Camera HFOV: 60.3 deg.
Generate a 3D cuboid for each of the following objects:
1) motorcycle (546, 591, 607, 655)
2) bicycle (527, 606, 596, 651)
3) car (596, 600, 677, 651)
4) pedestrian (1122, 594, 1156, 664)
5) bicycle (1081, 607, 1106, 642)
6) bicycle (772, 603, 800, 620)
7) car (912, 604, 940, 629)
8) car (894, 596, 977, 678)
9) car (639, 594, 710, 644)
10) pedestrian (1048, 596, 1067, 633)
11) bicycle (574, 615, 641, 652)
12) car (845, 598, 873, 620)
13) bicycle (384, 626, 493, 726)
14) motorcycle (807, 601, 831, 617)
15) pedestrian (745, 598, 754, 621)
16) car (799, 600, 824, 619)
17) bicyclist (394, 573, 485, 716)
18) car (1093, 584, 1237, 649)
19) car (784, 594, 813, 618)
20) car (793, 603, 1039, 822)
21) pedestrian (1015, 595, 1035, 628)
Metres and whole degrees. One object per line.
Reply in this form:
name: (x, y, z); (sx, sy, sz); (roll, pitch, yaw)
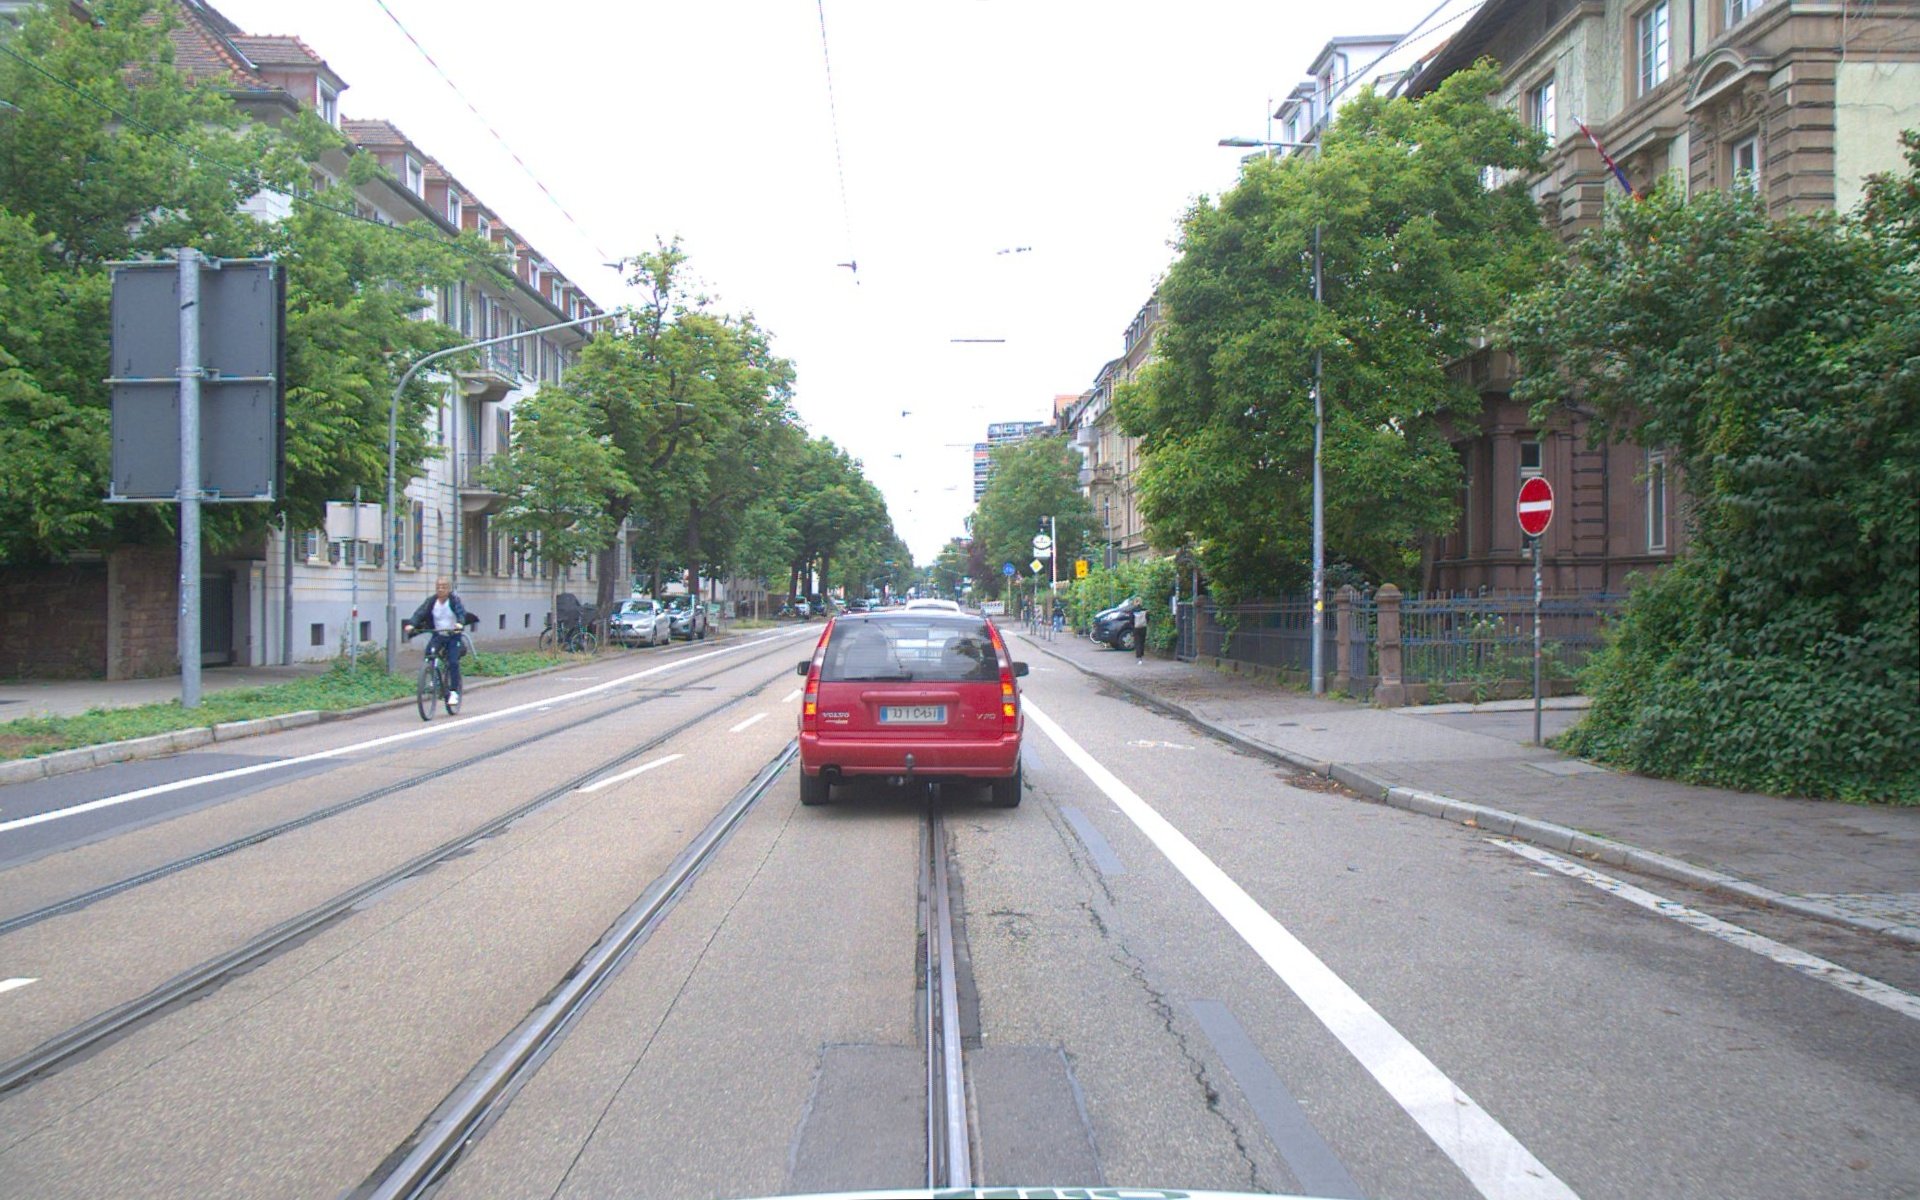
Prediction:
motorcycle: (-10.354, 0.613, 44.781); (0.815, 1.672, 2.482); (0, 0, 7)
bicycle: (-10.293, 0.740, 42.738); (1.705, 1.148, 0.518); (0, 0, 17)
car: (-10.120, 0.768, 52.006); (1.775, 1.491, 4.612); (0, 0, -2)
pedestrian: (4.448, 0.713, 41.152); (0.611, 1.700, 0.959); (-3, 0, -2)
bicycle: (4.660, 0.857, 57.811); (0.620, 1.147, 1.812); (-2, 1, -2)
bicycle: (-12.084, 0.813, 114.797); (1.883, 1.141, 0.623); (1, -1, -2)
car: (-2.252, 1.089, 110.101); (1.707, 1.634, 3.997); (0, 0, -3)
car: (-0.483, 0.763, 35.682); (1.683, 1.653, 3.941); (0, 0, 1)
car: (-10.378, 0.658, 60.414); (1.800, 1.690, 4.293); (2, 0, 0)
pedestrian: (4.534, 0.680, 77.220); (0.777, 1.665, 0.836); (-2, -1, -1)
bicycle: (-10.281, 0.984, 48.299); (1.858, 1.045, 0.563); (1, 0, -6)
car: (-6.618, 0.581, 108.512); (1.694, 1.433, 3.654); (0, 0, -2)
bicycle: (-6.926, 0.986, 22.072); (0.775, 1.206, 2.010); (-3, 0, -1)
motorcycle: (-13.567, 0.882, 159.386); (2.225, 1.538, 0.924); (-1, -2, 34)
pedestrian: (-13.923, 0.605, 109.362); (0.553, 1.493, 0.722); (-1, 0, -1)
car: (-12.326, 0.765, 137.693); (1.741, 1.537, 4.237); (0, 0, 0)
bicyclist: (-6.945, 0.577, 22.131); (0.775, 1.814, 1.147); (-3, 0, -1)
car: (6.334, 0.516, 51.429); (4.193, 1.840, 1.823); (-2, 0, 0)
car: (-11.623, 0.411, 119.056); (1.859, 1.684, 4.223); (0, 0, -2)
car: (-0.316, 0.766, 13.078); (1.654, 1.467, 3.742); (0, 0, -1)
pedestrian: (3.334, 0.590, 84.685); (0.854, 1.685, 0.909); (0, 0, 11)
